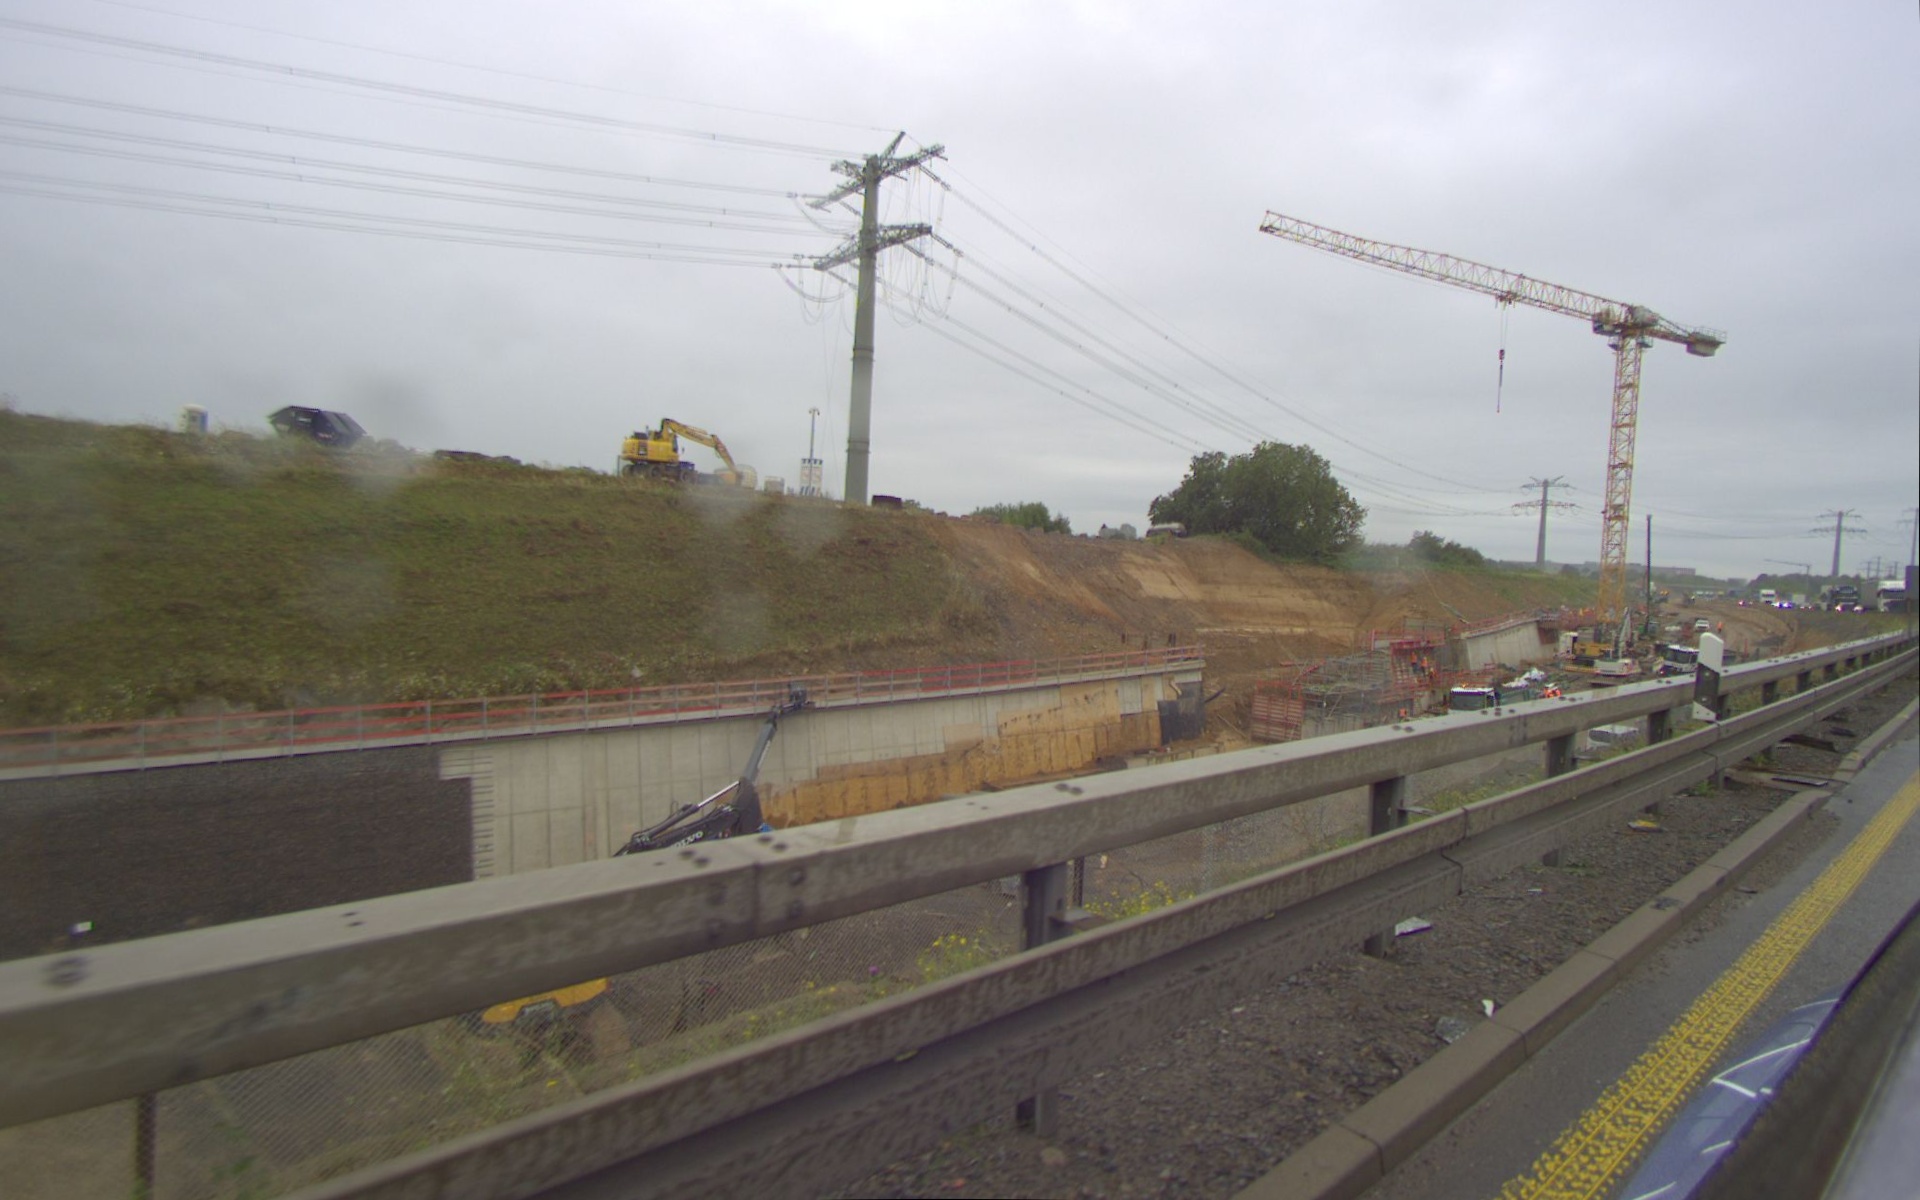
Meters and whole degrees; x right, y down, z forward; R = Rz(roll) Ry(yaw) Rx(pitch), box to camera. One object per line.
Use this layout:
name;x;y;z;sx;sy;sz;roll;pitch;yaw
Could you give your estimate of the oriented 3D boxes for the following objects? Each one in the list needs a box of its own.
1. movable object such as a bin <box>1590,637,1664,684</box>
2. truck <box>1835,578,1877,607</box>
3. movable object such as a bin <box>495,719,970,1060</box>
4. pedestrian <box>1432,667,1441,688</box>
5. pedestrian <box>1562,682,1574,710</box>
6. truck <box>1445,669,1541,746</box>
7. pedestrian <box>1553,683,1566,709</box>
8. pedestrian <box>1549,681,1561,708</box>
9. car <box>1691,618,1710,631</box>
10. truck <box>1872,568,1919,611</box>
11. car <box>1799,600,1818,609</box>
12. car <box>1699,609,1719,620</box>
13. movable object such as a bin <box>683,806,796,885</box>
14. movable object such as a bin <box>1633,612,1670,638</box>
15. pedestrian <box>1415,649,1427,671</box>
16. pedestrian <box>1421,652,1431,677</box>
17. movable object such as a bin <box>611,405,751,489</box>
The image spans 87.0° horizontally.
movable object such as a bin;57.813;5.146;87.667;6.534;3.466;3.516;-2;2;-39
truck;126.227;-1.061;142.626;3.526;3.943;8.228;-1;0;36
movable object such as a bin;-5.893;7.154;28.365;11.884;5.740;4.901;-4;1;-41
pedestrian;41.473;6.721;88.083;0.488;1.781;0.474;4;3;42
pedestrian;45.394;7.168;75.551;0.601;1.928;0.474;3;2;43
truck;33.871;6.650;64.114;8.926;3.655;2.705;-2;4;-44
pedestrian;44.226;7.059;74.669;0.602;1.791;0.474;6;4;43
pedestrian;45.051;7.129;76.622;0.601;1.928;0.474;4;3;43
car;110.067;3.620;150.433;1.853;1.638;4.020;2;2;41
truck;102.446;-1.130;109.981;4.300;4.400;13.216;-1;0;40
car;133.664;0.676;159.412;1.778;1.445;3.953;-1;0;33
car;127.858;2.524;172.672;2.343;1.638;4.788;2;2;41
movable object such as a bin;-8.158;9.015;37.537;2.515;1.935;3.206;-2;-1;44
movable object such as a bin;95.187;3.417;139.310;3.494;2.915;3.940;9;6;42
pedestrian;39.662;5.157;87.071;0.570;1.827;0.490;-3;-3;-7
pedestrian;40.569;5.624;88.059;0.487;2.127;0.474;-6;-4;42
movable object such as a bin;-17.606;-9.555;64.208;8.033;4.258;3.106;0;1;-40
